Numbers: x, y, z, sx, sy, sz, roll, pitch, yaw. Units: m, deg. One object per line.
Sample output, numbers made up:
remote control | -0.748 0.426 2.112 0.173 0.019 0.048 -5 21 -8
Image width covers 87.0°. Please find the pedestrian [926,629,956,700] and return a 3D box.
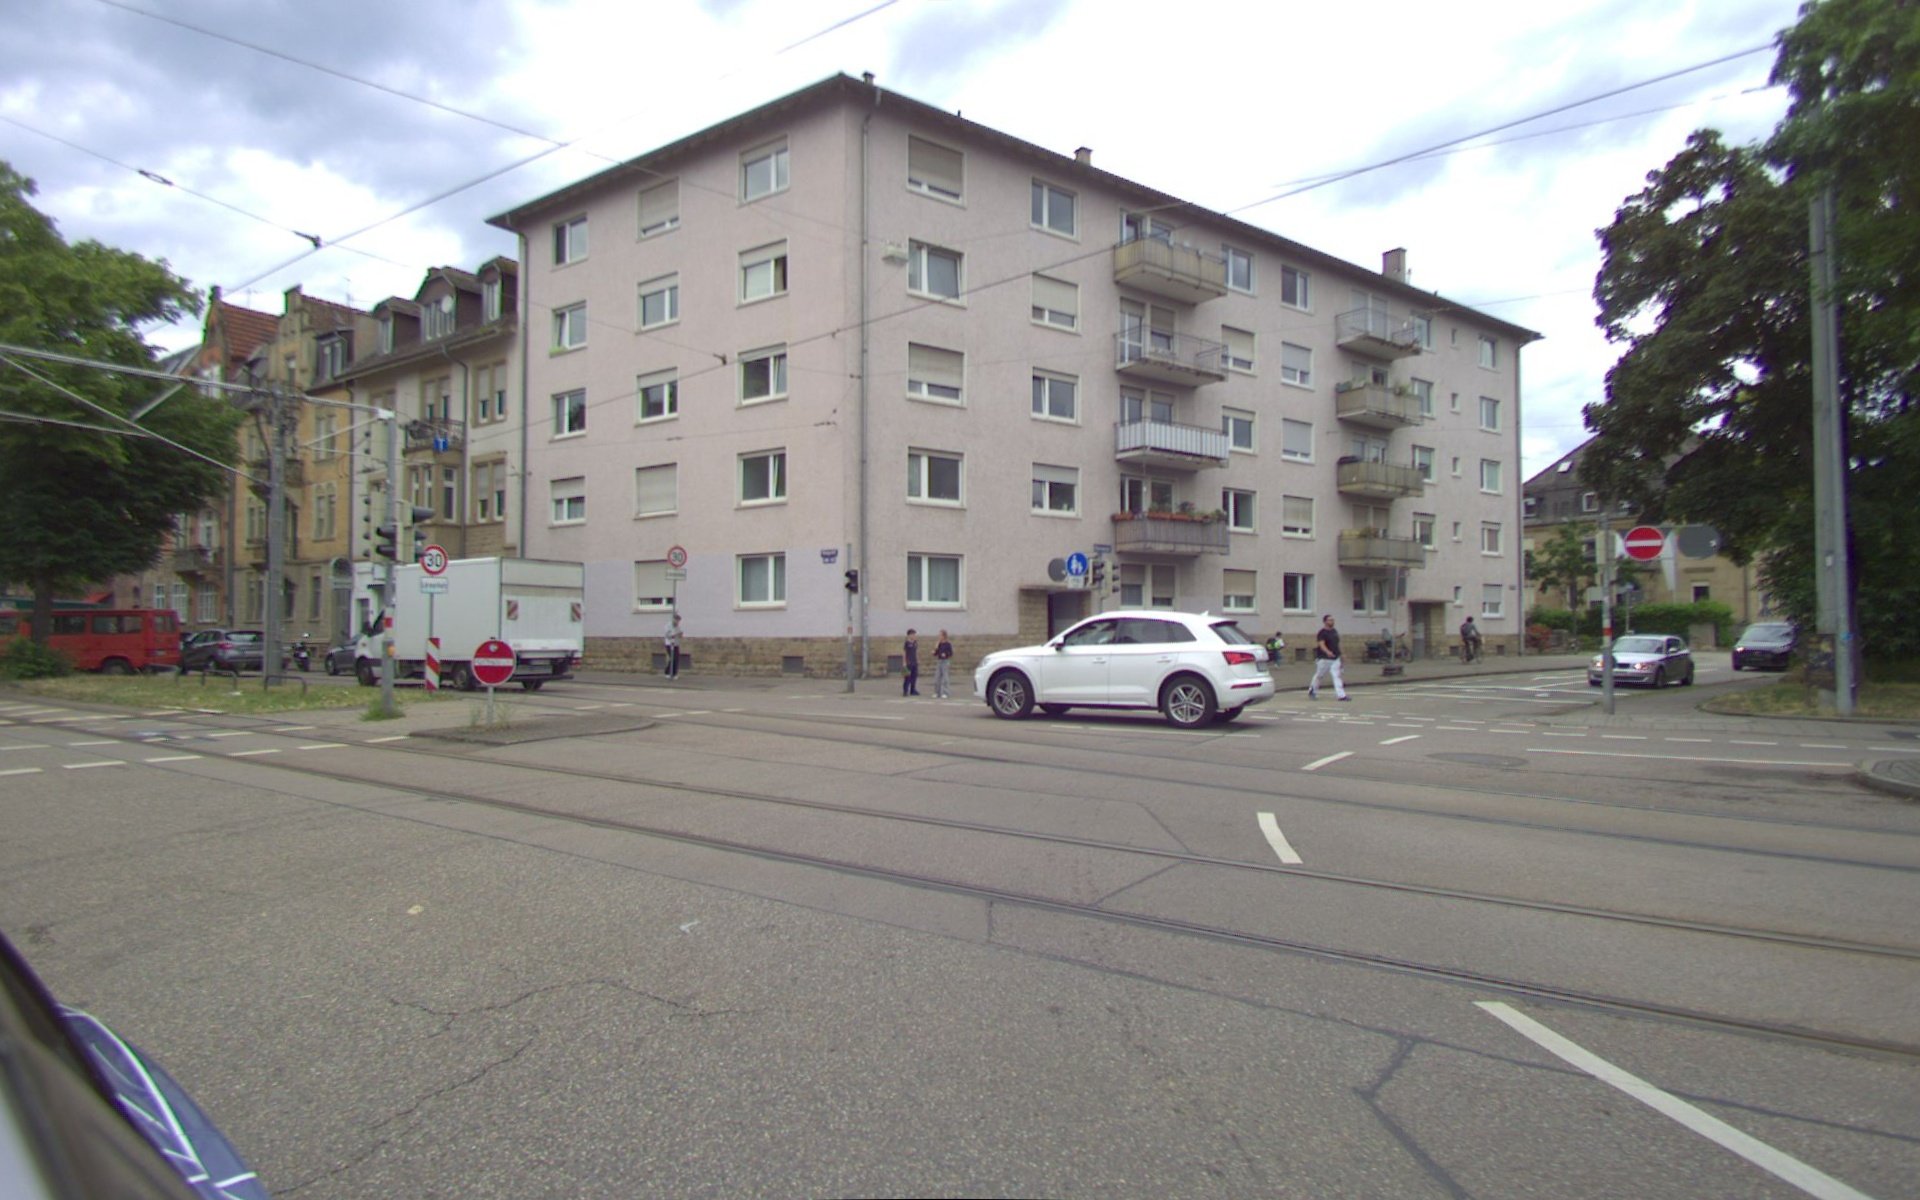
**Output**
pedestrian | -0.418 1.429 22.642 0.565 1.569 0.531 0 -2 12

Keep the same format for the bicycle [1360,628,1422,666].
bicycle | 17.181 1.857 40.330 2.848 1.477 0.885 1 -3 -35

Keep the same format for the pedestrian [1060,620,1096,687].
pedestrian | 3.290 1.467 28.127 0.711 1.827 0.684 2 -3 -40

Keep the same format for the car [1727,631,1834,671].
car | 29.590 1.806 36.472 3.970 1.364 2.005 1 -3 -36

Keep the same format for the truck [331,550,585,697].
truck | -12.423 0.591 24.780 7.310 3.181 2.167 -1 -2 33

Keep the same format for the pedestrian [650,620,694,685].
pedestrian | -8.141 1.474 28.577 0.897 1.780 0.791 -2 -3 33

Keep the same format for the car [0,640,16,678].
car | -38.733 2.261 38.108 4.268 1.446 1.904 0 -2 -13

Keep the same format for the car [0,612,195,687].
car | -24.420 1.351 28.075 4.686 1.989 1.965 0 -2 -17

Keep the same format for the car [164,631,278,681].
car | -24.074 1.770 32.935 4.120 1.546 1.631 -1 -2 33

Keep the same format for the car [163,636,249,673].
car | -31.217 2.231 41.873 3.912 1.454 1.621 -2 -2 33

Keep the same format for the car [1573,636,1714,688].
car | 19.285 1.700 28.509 3.970 1.364 2.005 1 -3 -36

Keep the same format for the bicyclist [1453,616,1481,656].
bicyclist | 20.226 1.435 40.362 0.846 1.576 0.660 1 -3 -35

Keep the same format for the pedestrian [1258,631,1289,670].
pedestrian | 10.641 1.719 34.337 0.719 1.298 0.691 2 -3 -40

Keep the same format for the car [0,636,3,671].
car | -41.369 2.166 40.097 4.608 1.446 1.904 0 -2 -16

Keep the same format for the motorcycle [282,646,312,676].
motorcycle | -24.512 2.230 37.426 0.699 1.046 2.234 2 -2 -39

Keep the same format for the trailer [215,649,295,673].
trailer | -27.123 2.330 38.908 3.067 0.899 1.443 -2 -4 33

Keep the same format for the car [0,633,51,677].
car | -33.405 1.854 34.067 3.799 1.474 1.694 0 -2 -13

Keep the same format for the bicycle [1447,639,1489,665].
bicycle | 20.271 2.079 40.369 1.933 1.010 0.658 1 -3 -35

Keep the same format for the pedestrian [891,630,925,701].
pedestrian | -1.172 1.477 23.032 0.562 1.569 0.534 2 -3 -43

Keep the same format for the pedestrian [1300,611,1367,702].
pedestrian | 7.975 1.192 21.630 0.821 1.889 1.049 1 -2 -20

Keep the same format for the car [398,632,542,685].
car | -14.513 1.694 29.908 4.748 1.454 1.621 -2 -2 33

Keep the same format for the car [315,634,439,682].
car | -19.018 1.850 32.938 4.556 1.454 1.621 -2 -2 33

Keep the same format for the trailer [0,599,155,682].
trailer | -26.757 1.204 30.393 3.607 2.362 1.937 1 -2 -24

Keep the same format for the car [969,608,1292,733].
car | 2.511 0.988 15.314 4.520 1.651 1.757 -1 -2 31
